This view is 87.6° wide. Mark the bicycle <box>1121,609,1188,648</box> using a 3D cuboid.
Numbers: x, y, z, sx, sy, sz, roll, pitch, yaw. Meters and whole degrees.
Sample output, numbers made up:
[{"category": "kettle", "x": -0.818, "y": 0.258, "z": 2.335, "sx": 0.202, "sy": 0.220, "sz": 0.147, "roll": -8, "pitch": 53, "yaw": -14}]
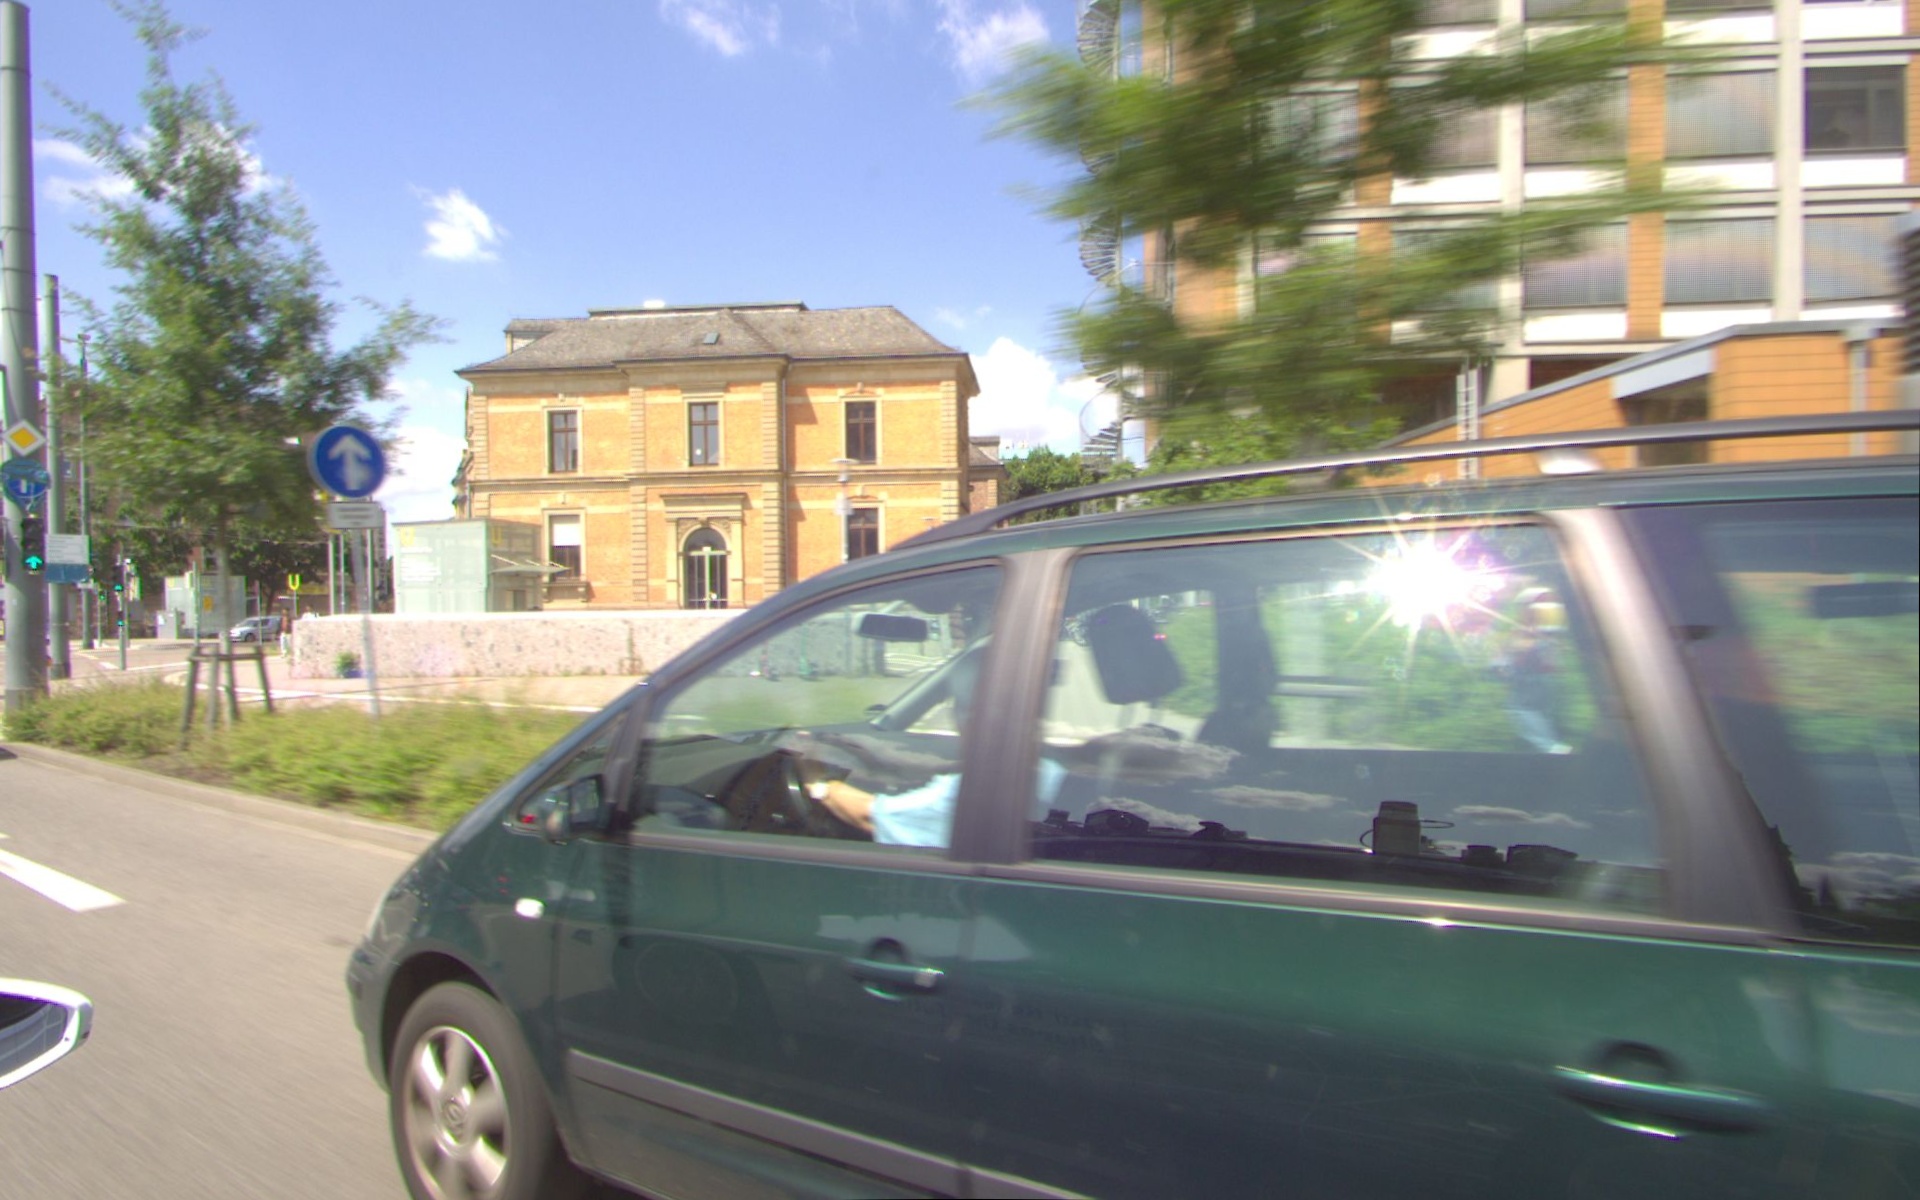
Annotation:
[{"category": "bicycle", "x": 5.620, "y": 0.830, "z": 28.971, "sx": 1.846, "sy": 1.048, "sz": 0.374, "roll": -2, "pitch": -1, "yaw": -1}]

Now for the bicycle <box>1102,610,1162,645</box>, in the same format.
[{"category": "bicycle", "x": 5.556, "y": 0.890, "z": 32.359, "sx": 1.846, "sy": 1.048, "sz": 0.374, "roll": -2, "pitch": -1, "yaw": -1}]

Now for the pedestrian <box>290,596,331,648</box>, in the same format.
[{"category": "pedestrian", "x": -23.081, "y": 0.764, "z": 35.591, "sx": 0.847, "sy": 1.775, "sz": 0.757, "roll": -2, "pitch": 1, "yaw": 0}]

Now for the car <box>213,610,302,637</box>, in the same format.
[{"category": "car", "x": -40.795, "y": 1.341, "z": 58.277, "sx": 1.691, "sy": 1.493, "sz": 4.136, "roll": 0, "pitch": 0, "yaw": 13}]

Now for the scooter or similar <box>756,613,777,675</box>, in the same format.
[{"category": "scooter or similar", "x": -3.746, "y": 0.831, "z": 19.400, "sx": 0.227, "sy": 1.139, "sz": 1.279, "roll": 0, "pitch": 1, "yaw": -19}]

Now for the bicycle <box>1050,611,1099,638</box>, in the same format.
[{"category": "bicycle", "x": 4.589, "y": 0.984, "z": 40.239, "sx": 1.920, "sy": 1.058, "sz": 0.374, "roll": -1, "pitch": -1, "yaw": 12}]

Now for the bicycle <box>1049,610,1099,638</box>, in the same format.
[{"category": "bicycle", "x": 4.514, "y": 0.966, "z": 39.748, "sx": 1.920, "sy": 1.058, "sz": 0.374, "roll": -1, "pitch": -1, "yaw": 12}]

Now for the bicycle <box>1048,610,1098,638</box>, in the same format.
[{"category": "bicycle", "x": 4.425, "y": 0.958, "z": 39.350, "sx": 1.920, "sy": 1.048, "sz": 0.374, "roll": -1, "pitch": -1, "yaw": 12}]

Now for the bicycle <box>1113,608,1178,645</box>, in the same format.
[{"category": "bicycle", "x": 5.574, "y": 0.804, "z": 30.082, "sx": 1.846, "sy": 1.048, "sz": 0.374, "roll": -2, "pitch": -1, "yaw": -1}]

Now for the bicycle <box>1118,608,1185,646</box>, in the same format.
[{"category": "bicycle", "x": 5.612, "y": 0.801, "z": 29.390, "sx": 1.846, "sy": 1.048, "sz": 0.374, "roll": -2, "pitch": -1, "yaw": -1}]

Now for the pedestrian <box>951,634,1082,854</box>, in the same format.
[{"category": "pedestrian", "x": 0.452, "y": 1.083, "z": 7.890, "sx": 0.751, "sy": 1.610, "sz": 0.754, "roll": -2, "pitch": -2, "yaw": 33}]

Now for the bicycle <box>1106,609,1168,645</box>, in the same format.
[{"category": "bicycle", "x": 5.551, "y": 0.857, "z": 31.492, "sx": 1.846, "sy": 1.048, "sz": 0.374, "roll": -2, "pitch": -1, "yaw": -1}]

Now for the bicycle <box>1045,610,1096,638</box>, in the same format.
[{"category": "bicycle", "x": 4.226, "y": 0.925, "z": 38.401, "sx": 1.920, "sy": 1.048, "sz": 0.374, "roll": -1, "pitch": -1, "yaw": 12}]

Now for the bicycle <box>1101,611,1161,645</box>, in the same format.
[{"category": "bicycle", "x": 5.588, "y": 0.906, "z": 32.791, "sx": 1.846, "sy": 1.048, "sz": 0.374, "roll": -2, "pitch": -1, "yaw": -1}]

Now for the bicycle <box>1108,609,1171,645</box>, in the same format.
[{"category": "bicycle", "x": 5.552, "y": 0.840, "z": 31.027, "sx": 1.846, "sy": 1.048, "sz": 0.396, "roll": -2, "pitch": -1, "yaw": -1}]

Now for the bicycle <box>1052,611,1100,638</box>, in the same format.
[{"category": "bicycle", "x": 4.757, "y": 1.000, "z": 41.149, "sx": 1.920, "sy": 1.090, "sz": 0.374, "roll": -1, "pitch": -1, "yaw": 12}]

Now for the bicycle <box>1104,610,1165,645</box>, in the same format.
[{"category": "bicycle", "x": 5.551, "y": 0.873, "z": 31.916, "sx": 1.846, "sy": 1.048, "sz": 0.374, "roll": -2, "pitch": -1, "yaw": -1}]

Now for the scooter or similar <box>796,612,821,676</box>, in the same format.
[{"category": "scooter or similar", "x": -2.896, "y": 0.812, "z": 19.077, "sx": 0.227, "sy": 1.139, "sz": 1.449, "roll": 0, "pitch": 1, "yaw": -19}]

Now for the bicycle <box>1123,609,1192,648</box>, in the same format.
[{"category": "bicycle", "x": 5.632, "y": 0.818, "z": 28.553, "sx": 1.846, "sy": 1.048, "sz": 0.374, "roll": -2, "pitch": -1, "yaw": -1}]

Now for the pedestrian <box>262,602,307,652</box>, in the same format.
[{"category": "pedestrian", "x": -23.968, "y": 0.953, "z": 35.558, "sx": 0.847, "sy": 1.680, "sz": 0.967, "roll": -2, "pitch": 1, "yaw": 0}]

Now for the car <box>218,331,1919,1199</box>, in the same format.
[{"category": "car", "x": 0.230, "y": 0.666, "z": 2.489, "sx": 4.383, "sy": 1.744, "sz": 1.792, "roll": -1, "pitch": -3, "yaw": 31}]
